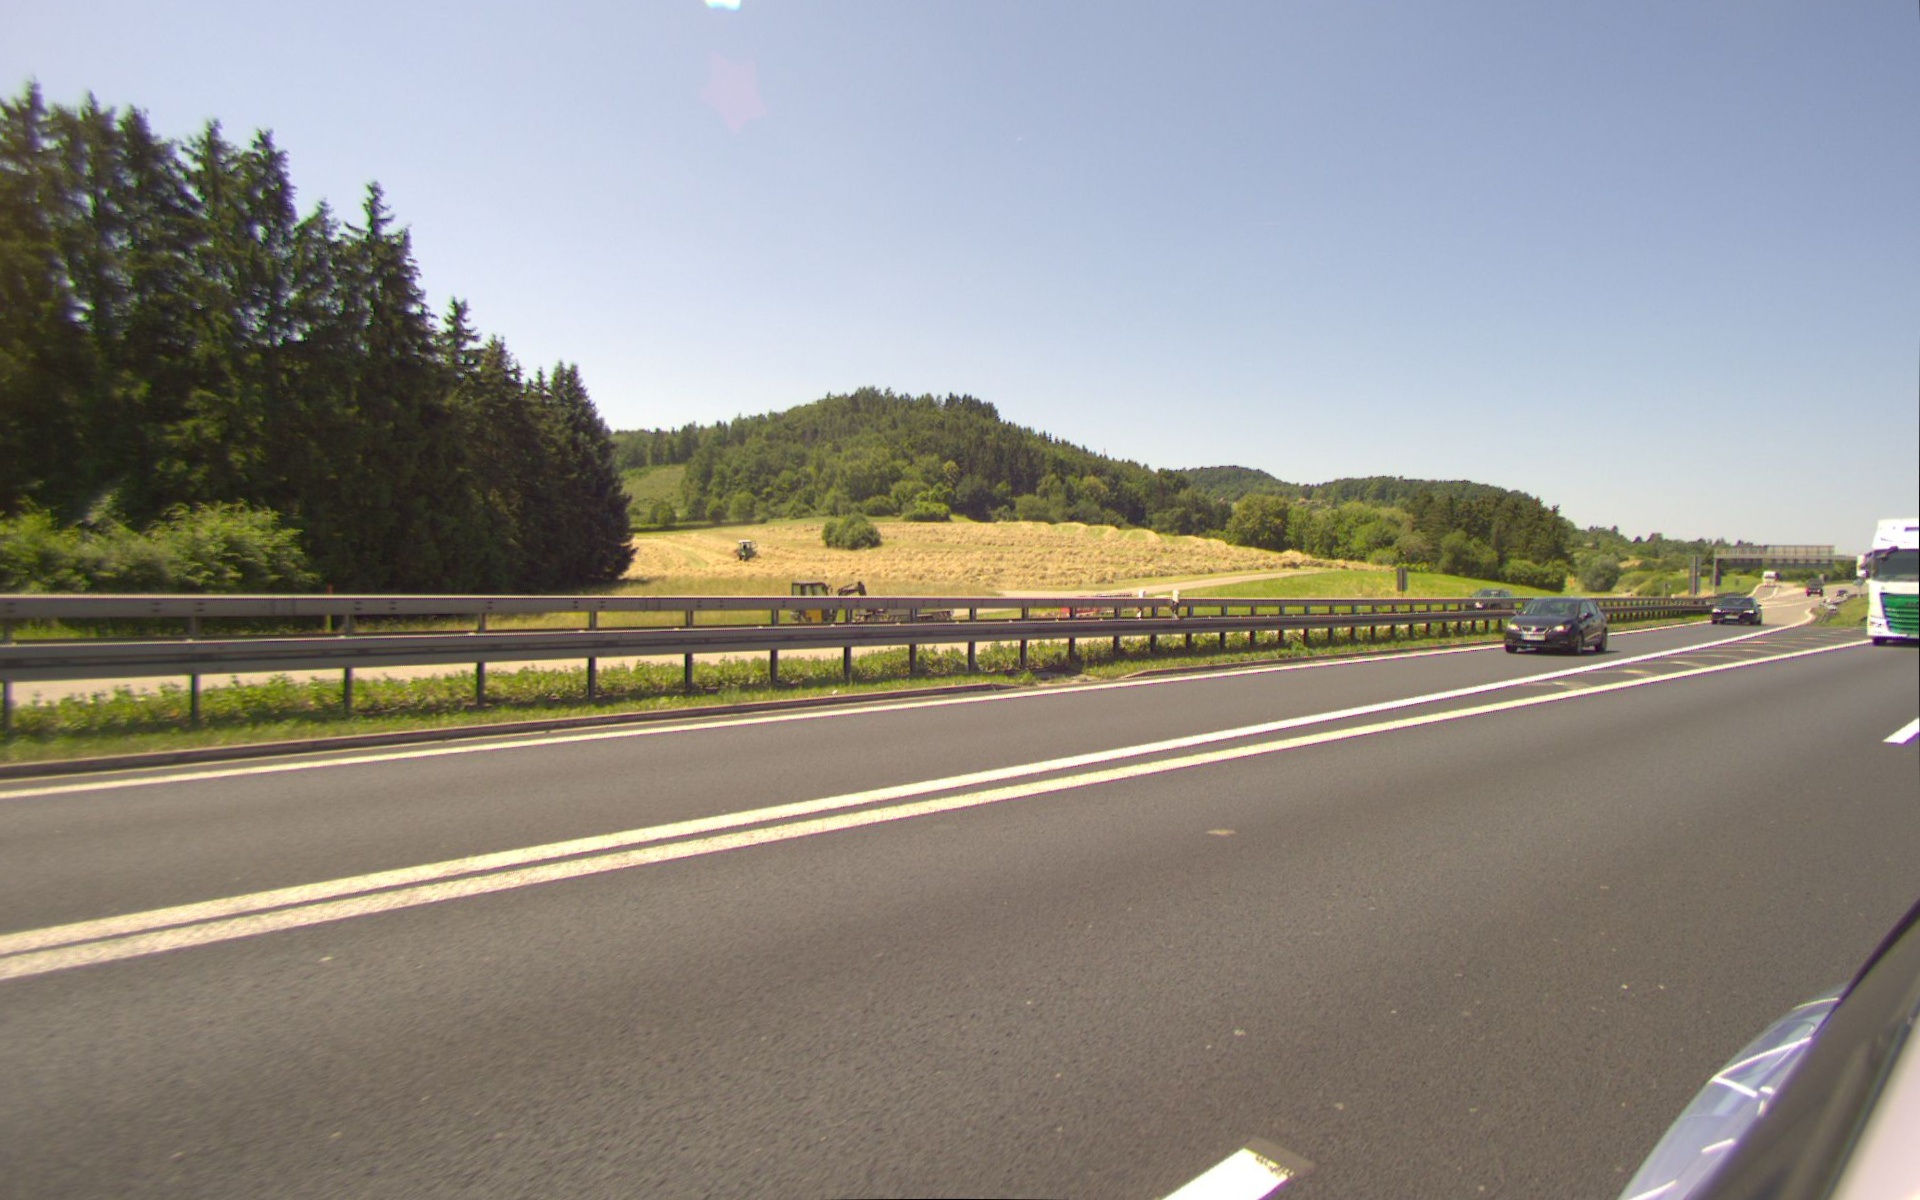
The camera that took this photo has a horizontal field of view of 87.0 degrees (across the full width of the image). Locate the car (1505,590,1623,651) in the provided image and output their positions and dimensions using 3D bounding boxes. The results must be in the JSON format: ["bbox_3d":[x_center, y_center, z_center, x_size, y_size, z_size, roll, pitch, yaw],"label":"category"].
[{"bbox_3d":[15.417,0.466,25.765,1.777,1.417,3.701,0,1,44],"label":"car"}]

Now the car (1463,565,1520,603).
[{"bbox_3d":[30.100,-0.924,57.273,1.992,2.038,3.940,2,2,41],"label":"car"}]

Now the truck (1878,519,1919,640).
[{"bbox_3d":[30.584,-0.627,31.430,4.328,3.638,2.646,0,0,-42],"label":"truck"}]

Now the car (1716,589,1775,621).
[{"bbox_3d":[39.311,0.225,50.606,3.804,1.491,1.888,-1,1,-45],"label":"car"}]

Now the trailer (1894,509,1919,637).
[{"bbox_3d":[37.634,-0.922,37.738,14.636,4.241,2.660,0,0,-42],"label":"trailer"}]
